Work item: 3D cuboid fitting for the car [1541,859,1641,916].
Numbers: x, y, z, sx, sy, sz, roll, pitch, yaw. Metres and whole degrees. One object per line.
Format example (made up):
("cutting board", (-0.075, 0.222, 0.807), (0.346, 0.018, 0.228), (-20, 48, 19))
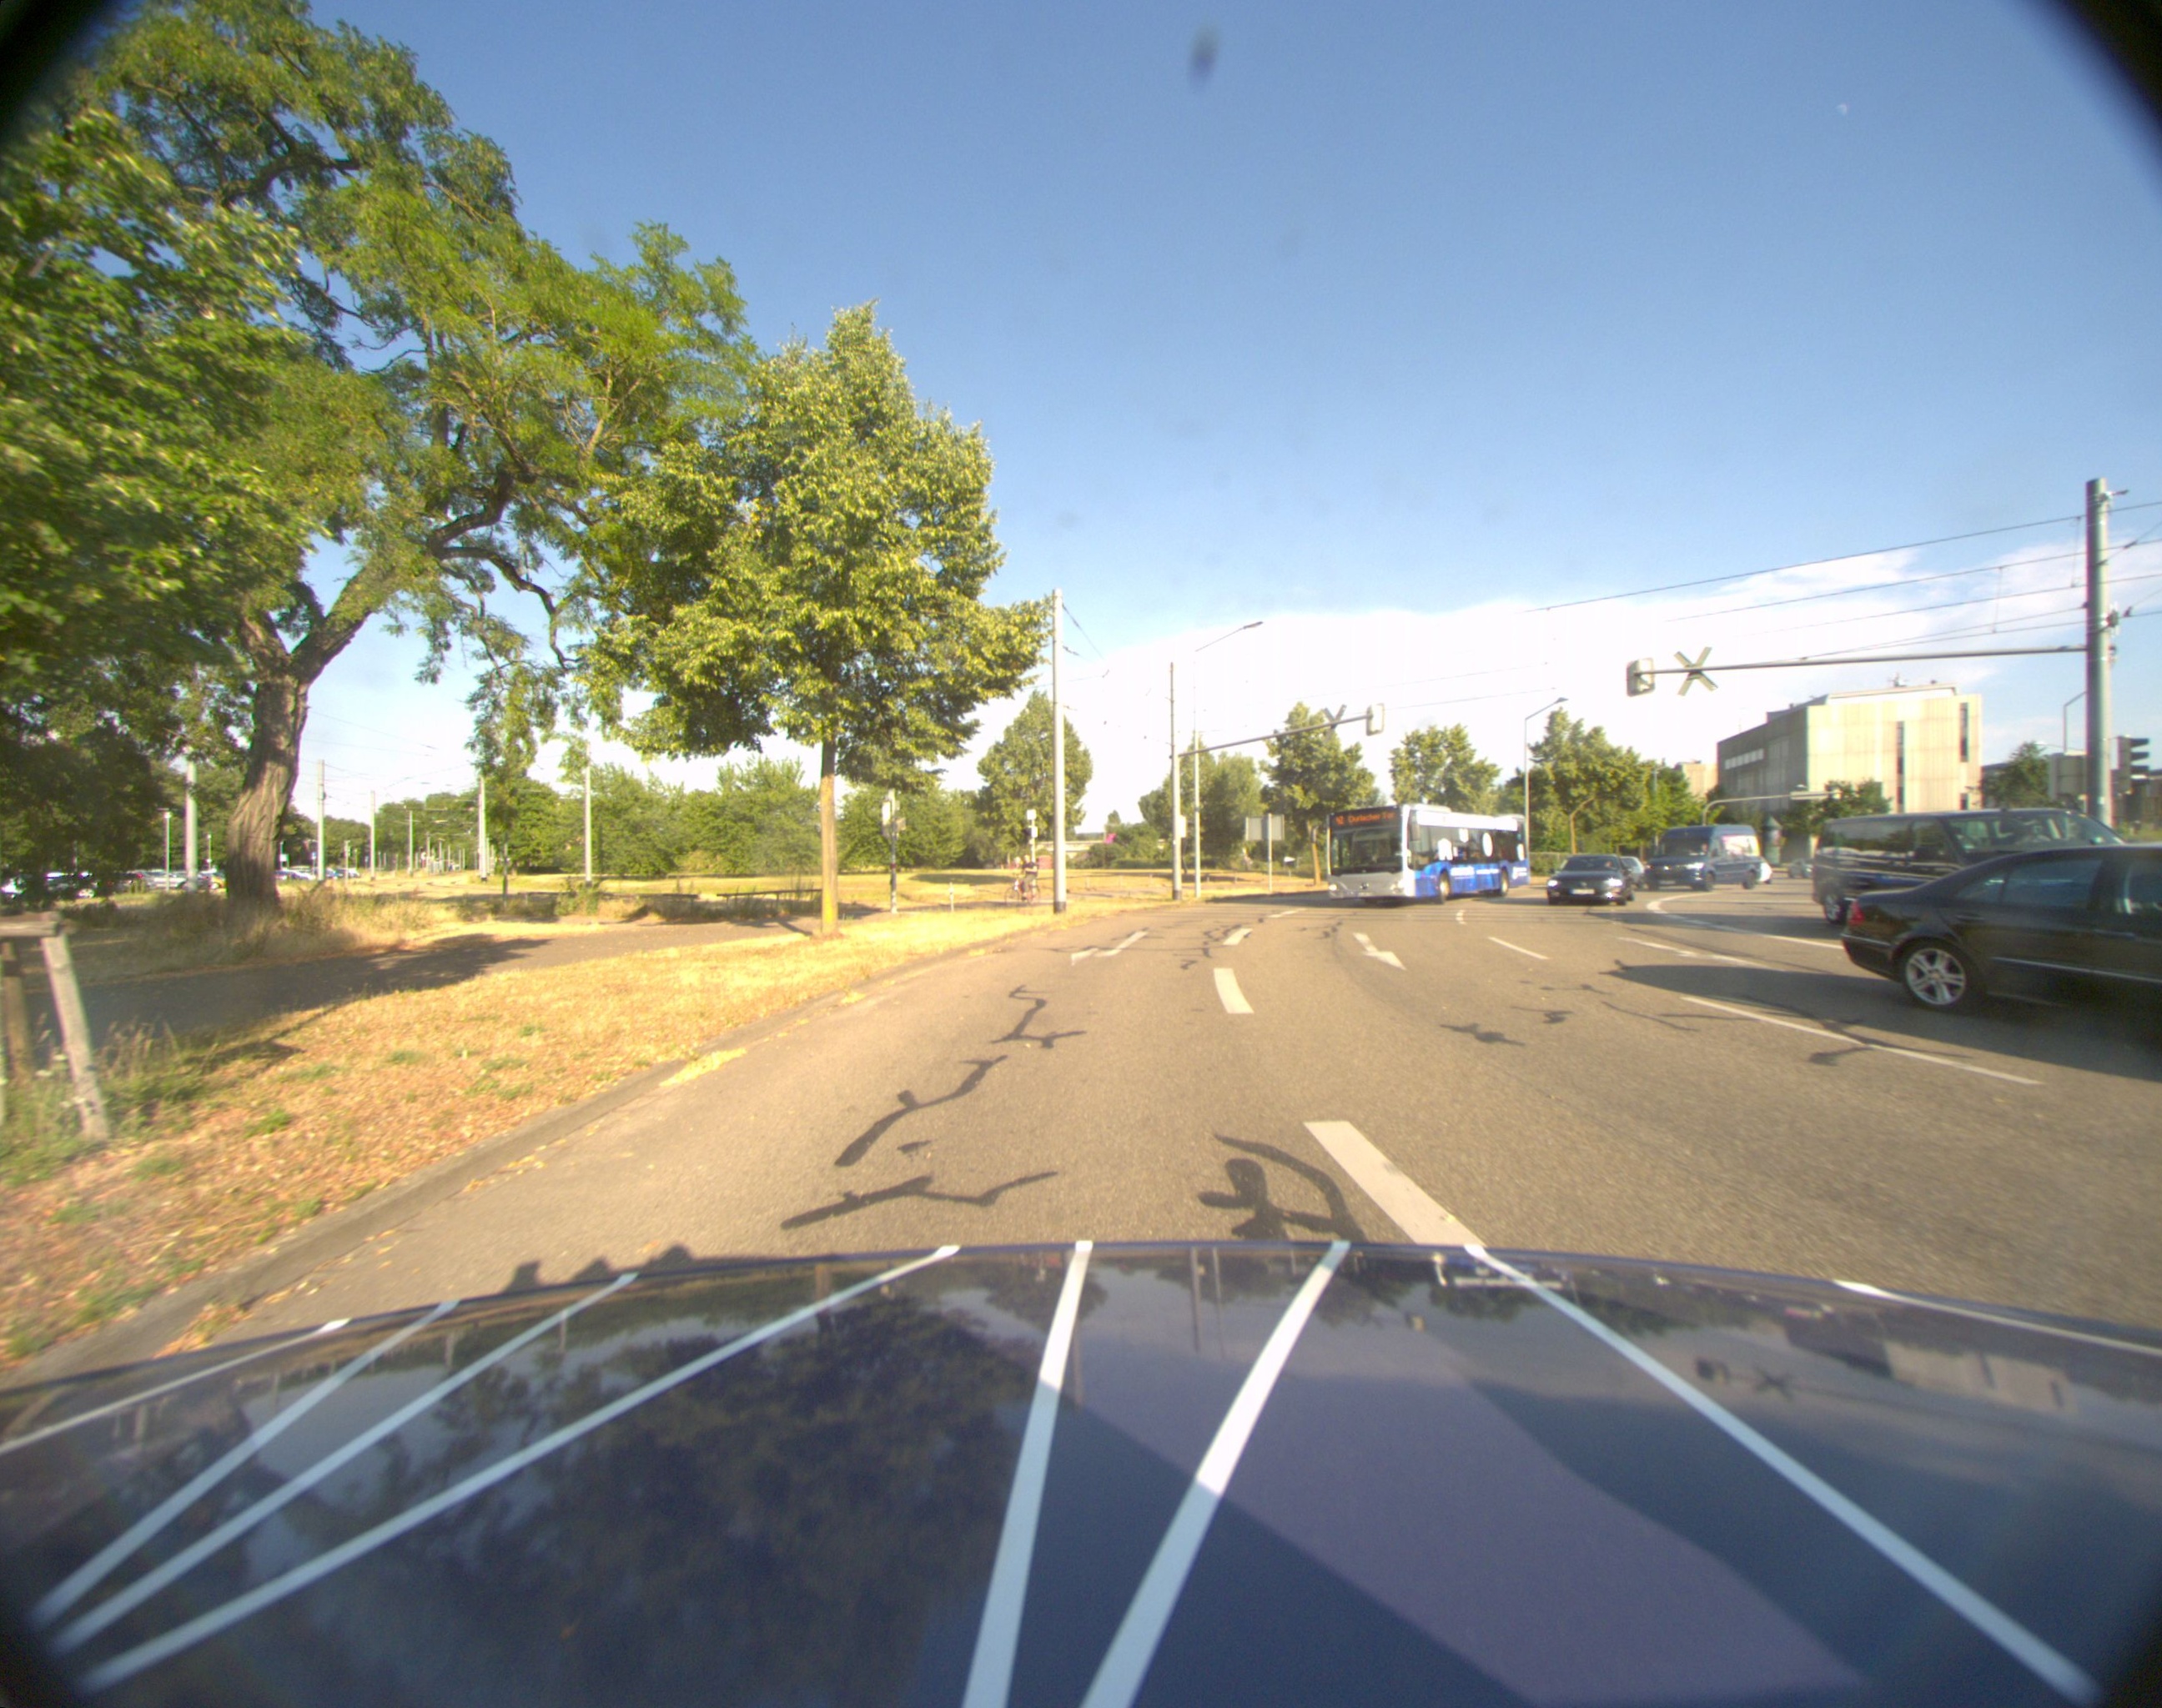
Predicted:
("car", (14.637, 0.870, 21.694), (1.806, 1.428, 4.396), (-1, 0, 42))

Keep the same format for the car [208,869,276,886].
("car", (-71.541, 1.986, 64.889), (3.806, 1.363, 1.781), (-1, 0, -45))

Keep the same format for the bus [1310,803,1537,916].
("bus", (12.077, 0.127, 25.708), (12.204, 3.044, 2.659), (-1, 0, -44))

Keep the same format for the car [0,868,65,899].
("car", (-49.755, 1.379, 34.594), (3.805, 1.363, 1.781), (-1, 0, -38))

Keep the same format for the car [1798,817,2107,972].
("car", (14.057, 0.537, 12.747), (2.089, 2.035, 5.255), (0, 0, 34))

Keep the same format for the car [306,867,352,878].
("car", (-92.655, 2.303, 93.645), (3.805, 1.283, 1.781), (-1, 0, -38))

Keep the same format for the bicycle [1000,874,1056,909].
("bicycle", (-1.852, 1.306, 26.765), (0.639, 1.116, 2.130), (0, 0, 41))

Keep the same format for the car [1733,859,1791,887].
("car", (38.092, 1.024, 42.471), (4.008, 1.508, 1.677), (0, 0, -38))

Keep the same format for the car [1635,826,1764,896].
("car", (24.363, 0.295, 29.868), (5.494, 2.578, 1.996), (0, -2, -29))

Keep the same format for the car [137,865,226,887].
("car", (-61.902, 1.499, 52.374), (3.806, 1.363, 1.781), (-1, 0, -45))

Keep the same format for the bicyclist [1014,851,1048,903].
("bicyclist", (-1.753, 0.792, 26.835), (0.726, 1.790, 0.940), (0, 1, 42))

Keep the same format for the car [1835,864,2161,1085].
("car", (7.961, 0.815, 4.909), (1.841, 1.398, 4.703), (1, 0, 6))
